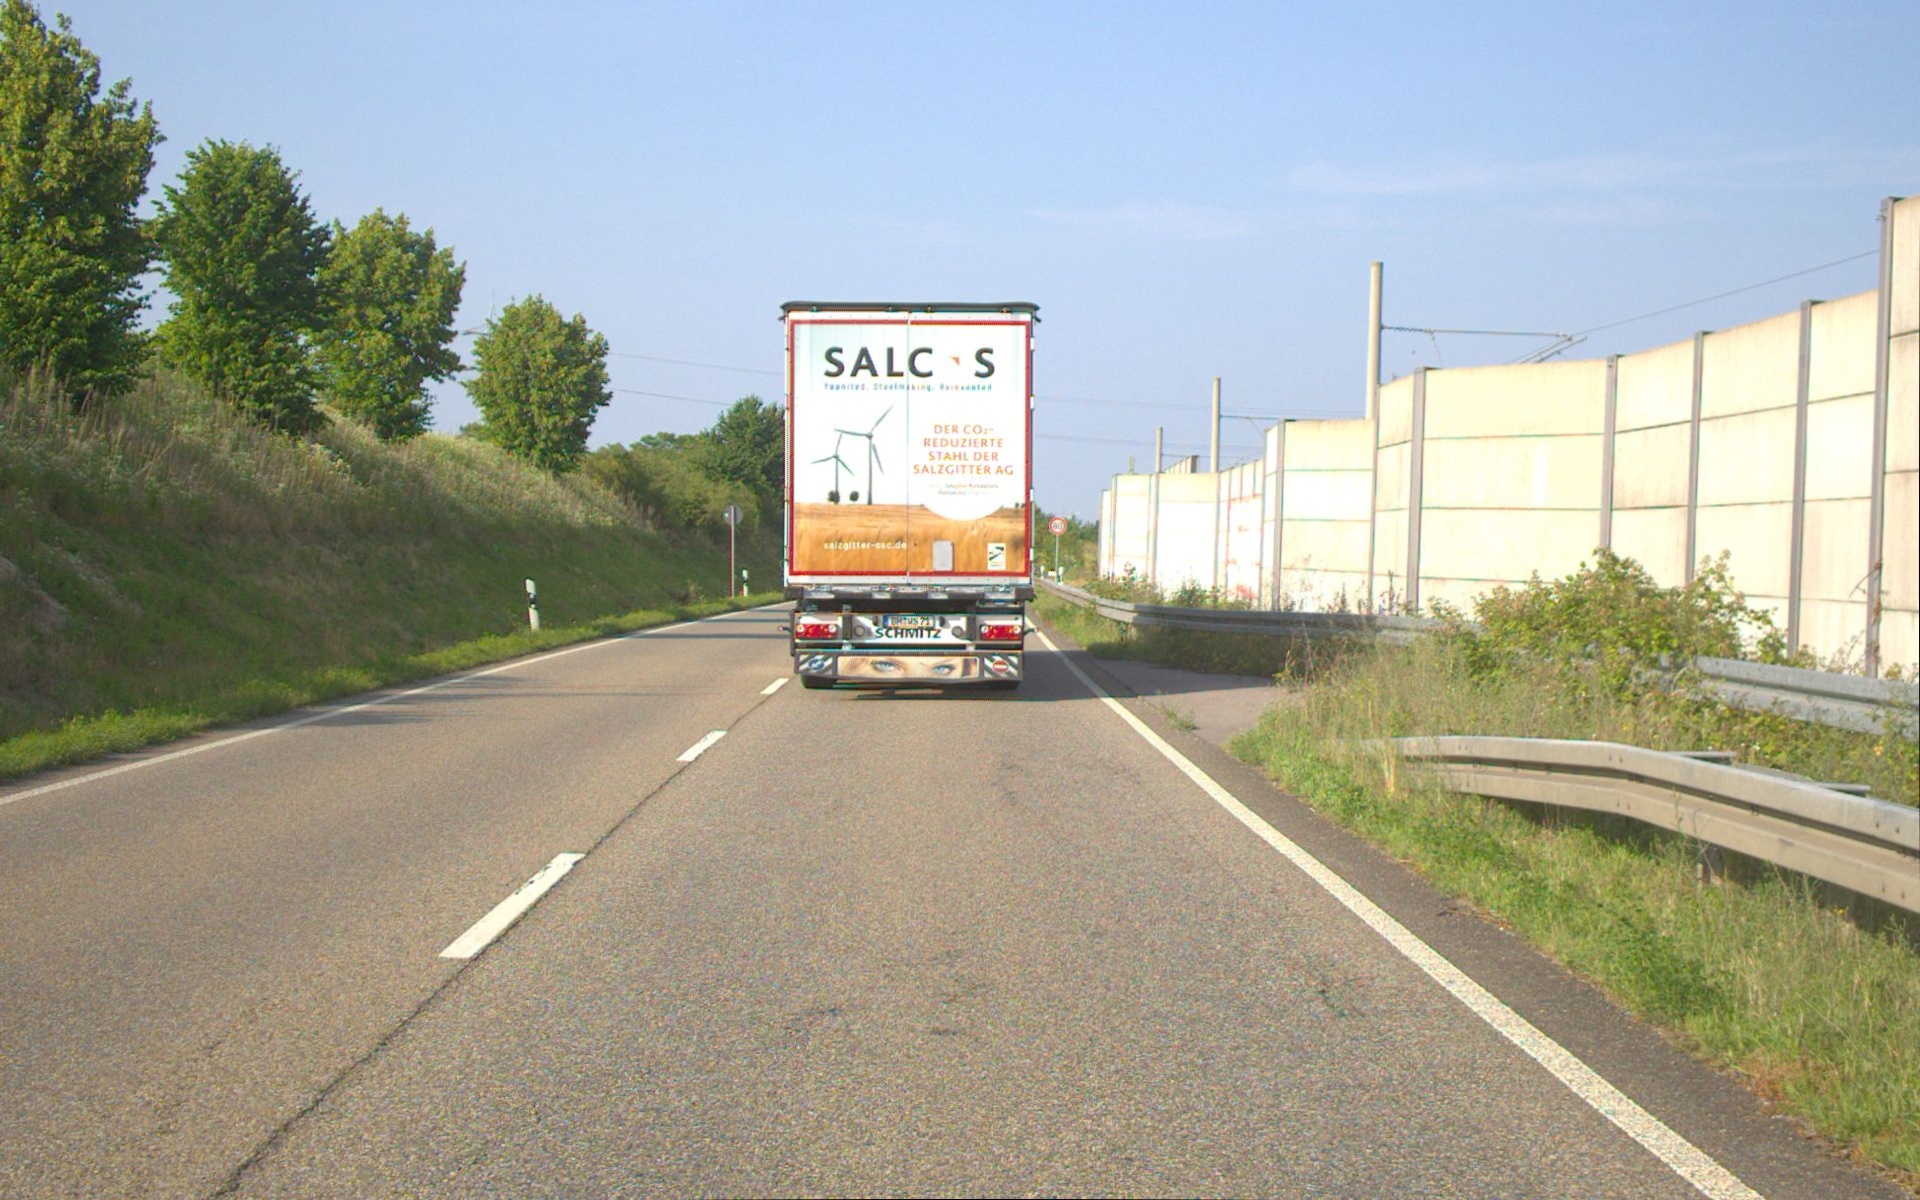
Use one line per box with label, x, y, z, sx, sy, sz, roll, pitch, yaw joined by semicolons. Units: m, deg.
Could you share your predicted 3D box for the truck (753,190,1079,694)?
truck;-0.526;-1.719;40.687;3.290;5.072;12.038;0;1;-1
